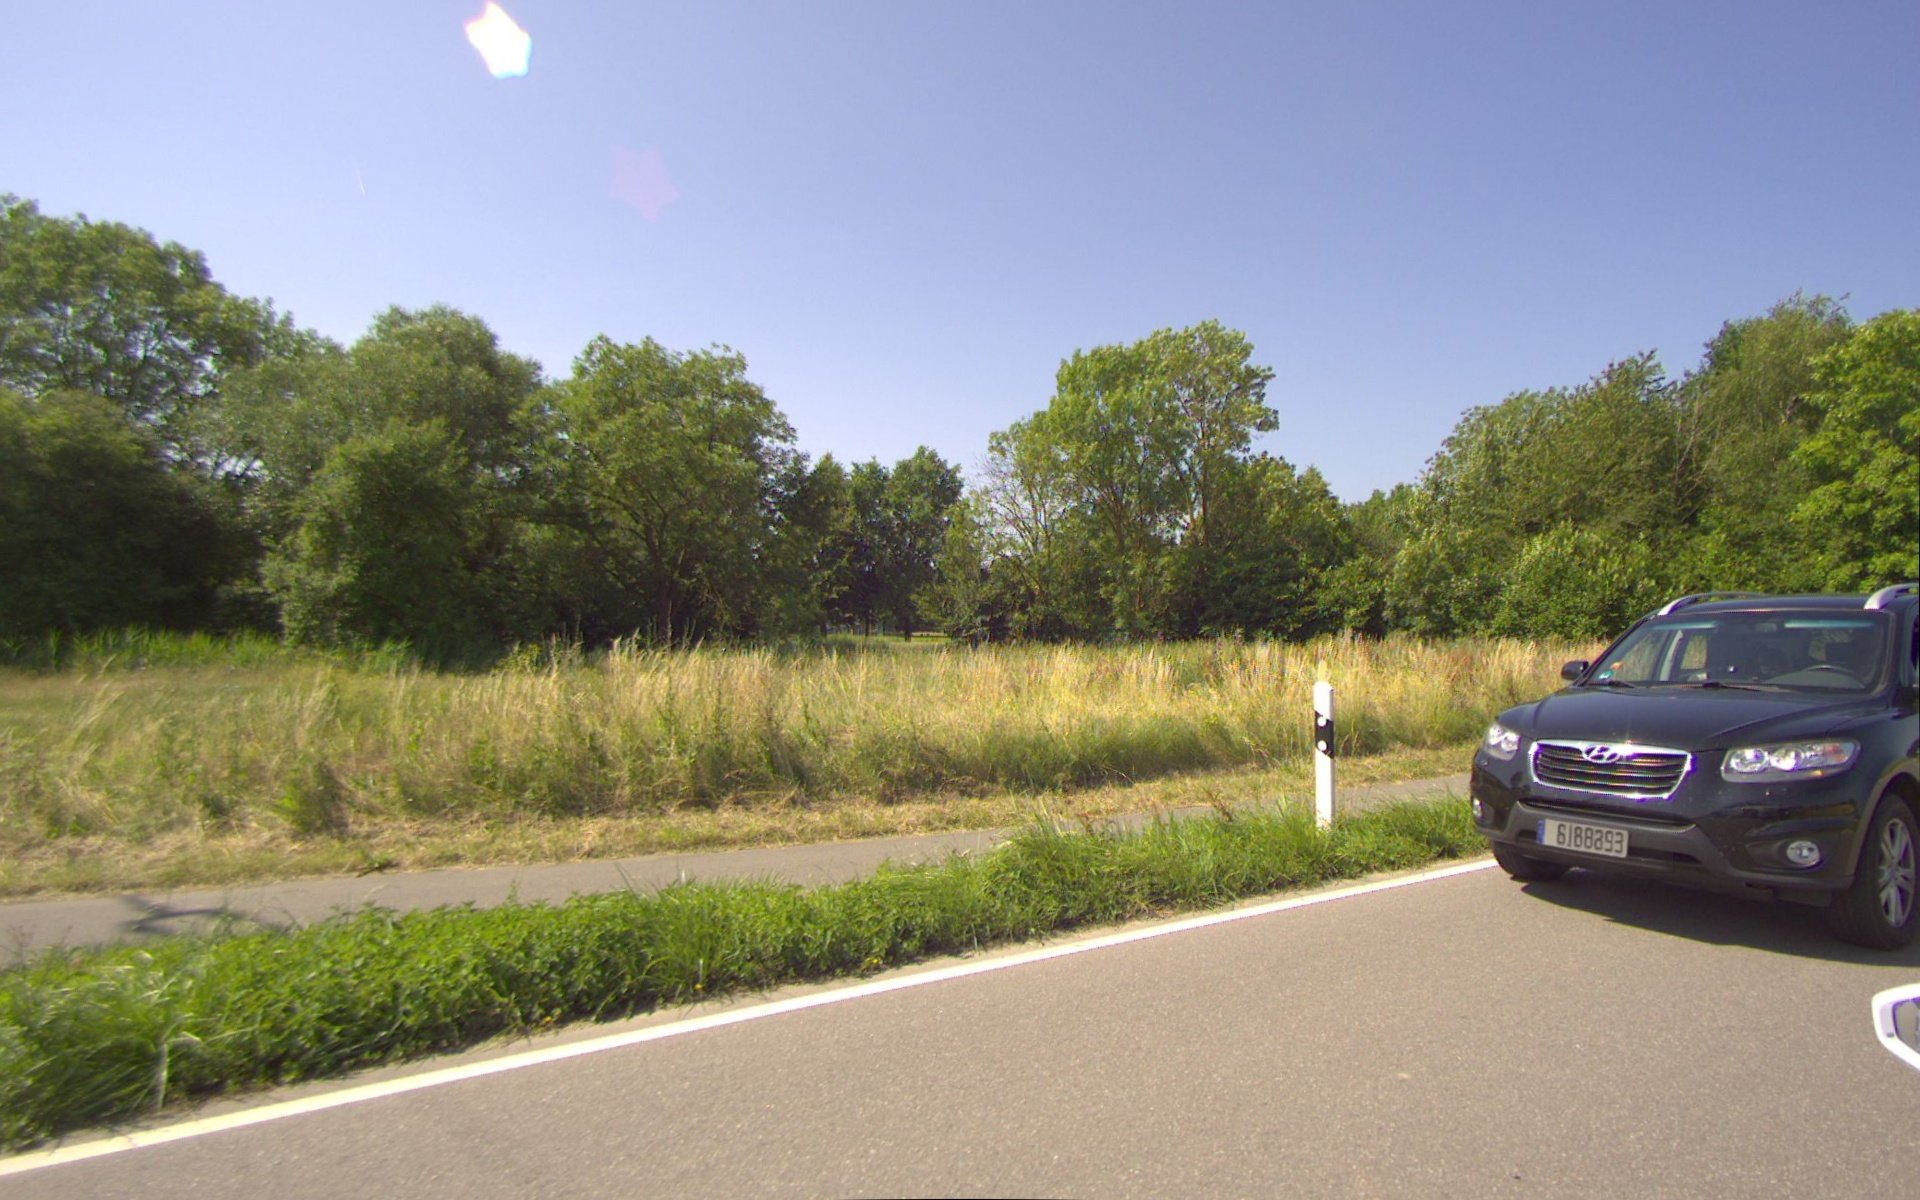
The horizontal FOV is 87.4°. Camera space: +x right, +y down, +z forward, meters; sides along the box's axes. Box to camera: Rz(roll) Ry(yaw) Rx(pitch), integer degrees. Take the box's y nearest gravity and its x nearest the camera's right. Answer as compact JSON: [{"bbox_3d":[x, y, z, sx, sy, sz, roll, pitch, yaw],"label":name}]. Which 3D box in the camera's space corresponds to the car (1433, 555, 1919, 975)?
[{"bbox_3d":[5.056,0.772,6.189,4.248,1.775,1.856,1,-3,-32],"label":"car"}]
